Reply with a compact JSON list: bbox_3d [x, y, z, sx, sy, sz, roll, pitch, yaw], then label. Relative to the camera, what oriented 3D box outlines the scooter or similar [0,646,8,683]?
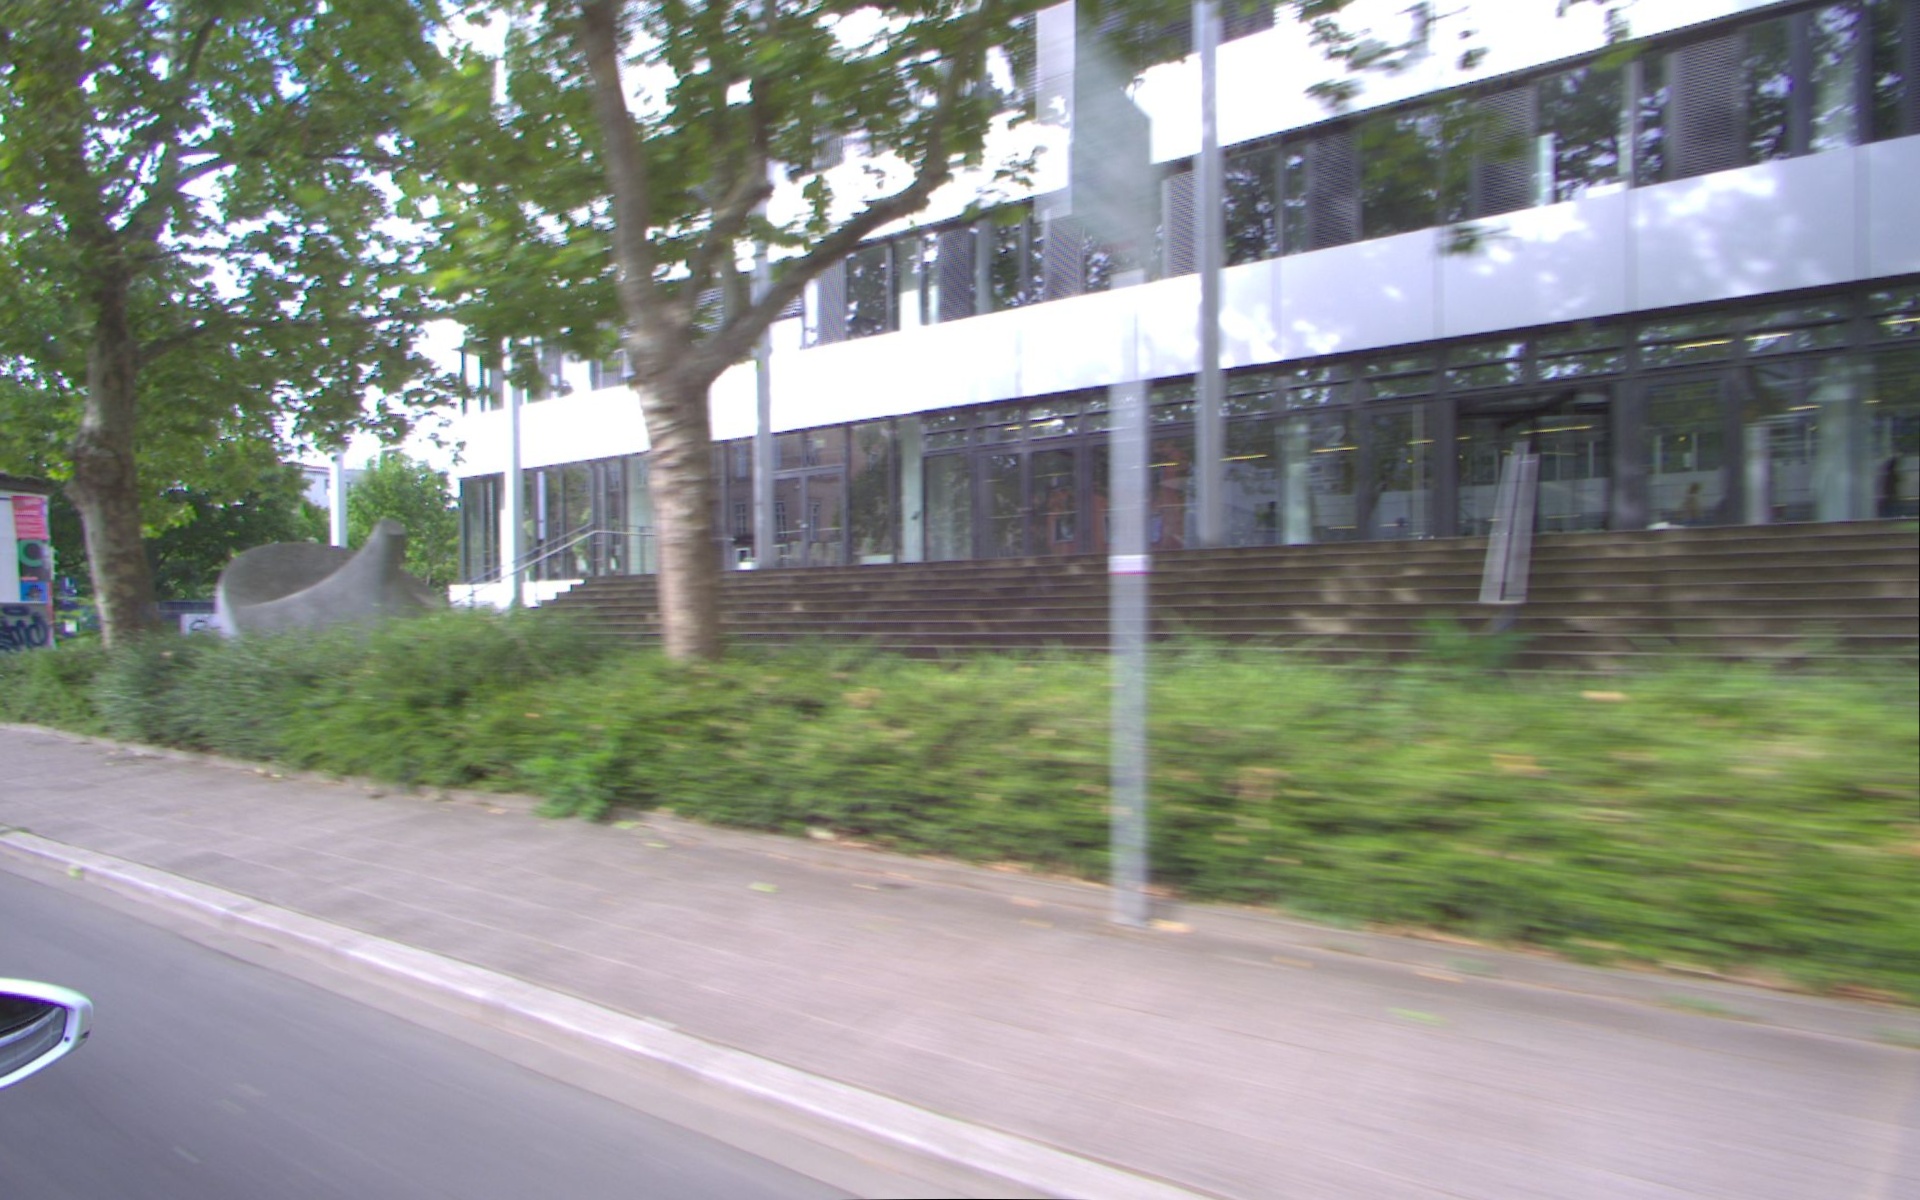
[{"bbox_3d":[-19.872,1.316,19.984,0.364,0.746,1.217,0,0,31],"label":"scooter or similar"}]
